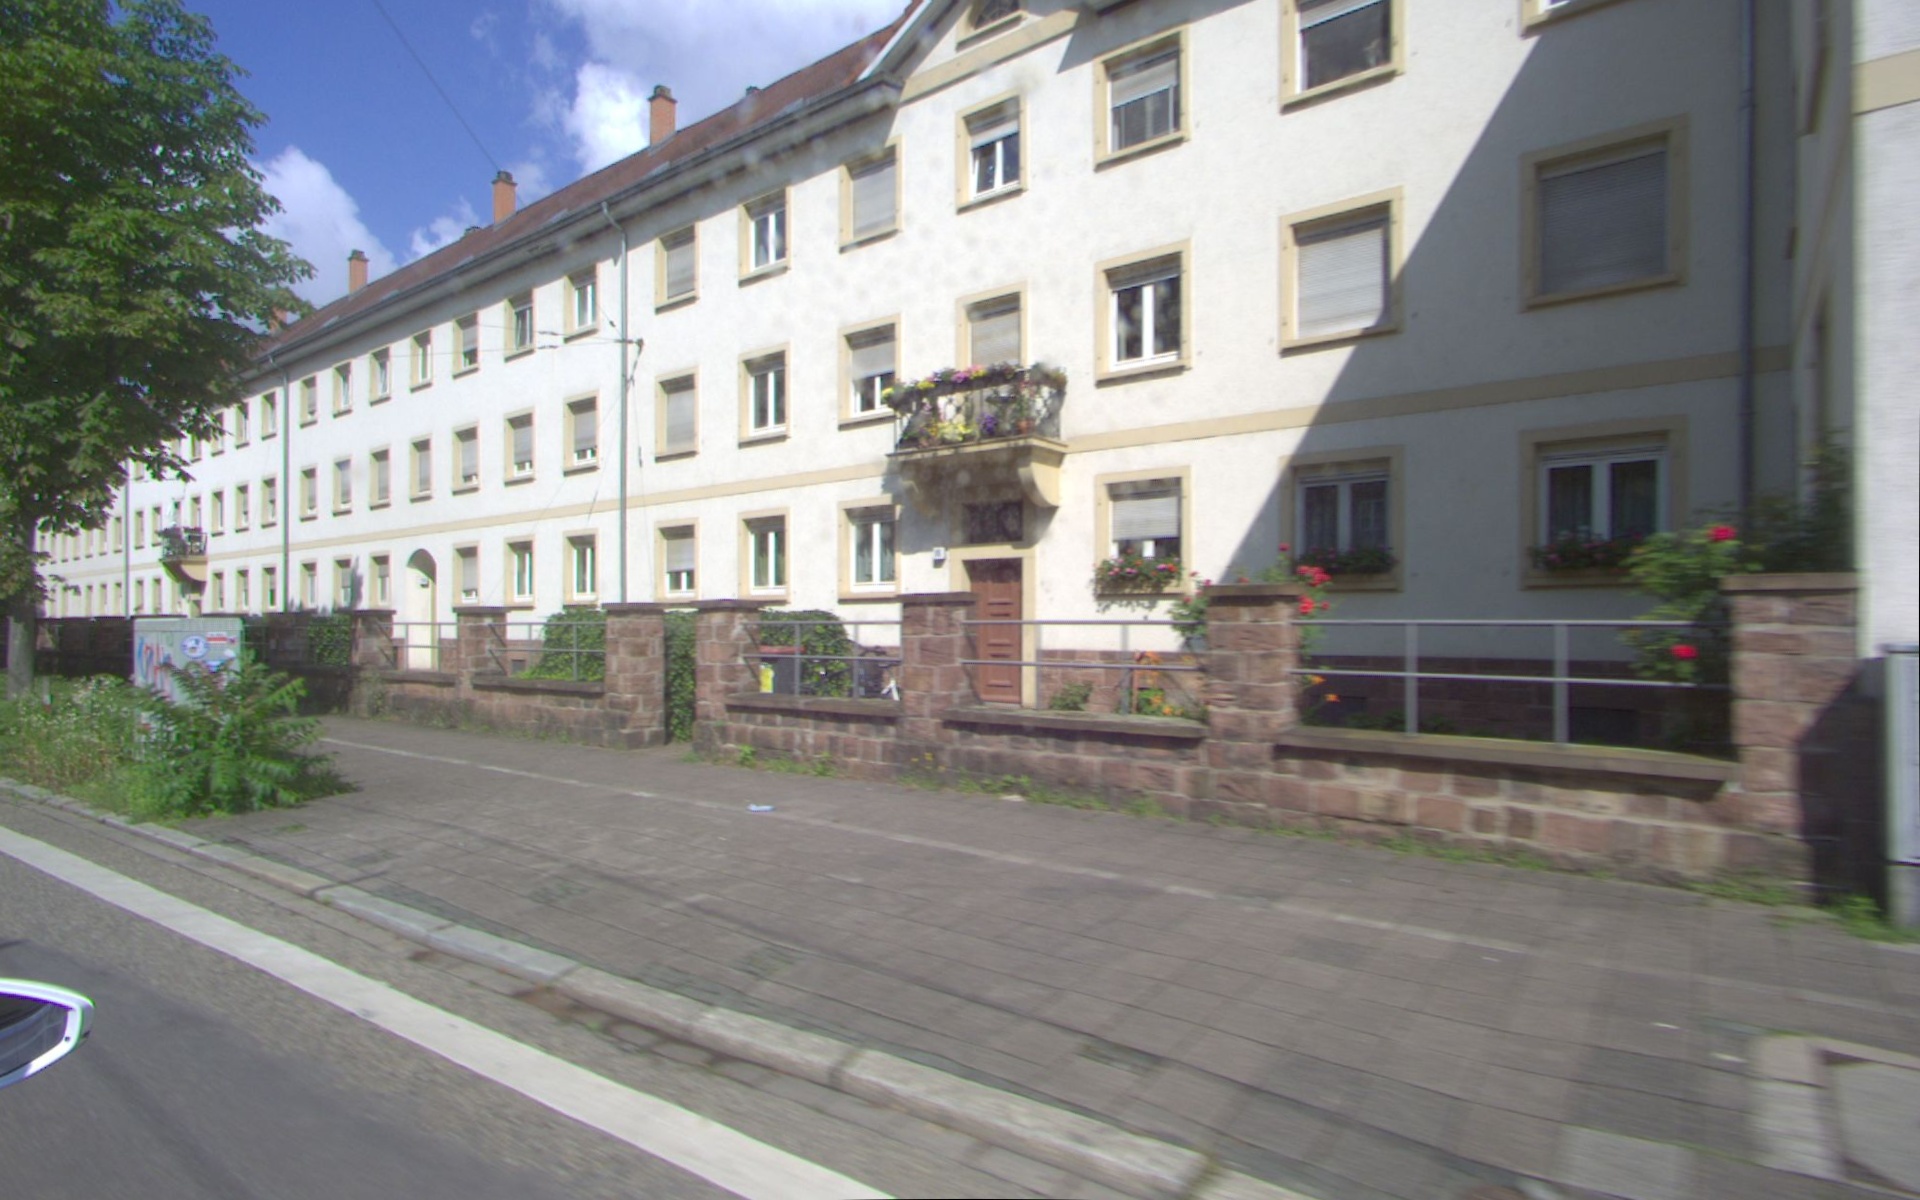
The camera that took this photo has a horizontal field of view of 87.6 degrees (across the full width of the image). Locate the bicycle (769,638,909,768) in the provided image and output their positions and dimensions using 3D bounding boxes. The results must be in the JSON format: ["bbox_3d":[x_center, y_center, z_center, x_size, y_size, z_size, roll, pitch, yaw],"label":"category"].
[{"bbox_3d":[-1.257,1.015,10.244,1.472,1.216,0.503,0,-1,37],"label":"bicycle"}]

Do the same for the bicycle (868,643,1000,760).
[{"bbox_3d":[-0.306,1.107,11.322,1.471,1.216,0.503,0,-1,35],"label":"bicycle"}]

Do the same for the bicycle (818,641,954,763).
[{"bbox_3d":[-0.812,1.061,10.832,1.471,1.216,0.503,0,-1,35],"label":"bicycle"}]
